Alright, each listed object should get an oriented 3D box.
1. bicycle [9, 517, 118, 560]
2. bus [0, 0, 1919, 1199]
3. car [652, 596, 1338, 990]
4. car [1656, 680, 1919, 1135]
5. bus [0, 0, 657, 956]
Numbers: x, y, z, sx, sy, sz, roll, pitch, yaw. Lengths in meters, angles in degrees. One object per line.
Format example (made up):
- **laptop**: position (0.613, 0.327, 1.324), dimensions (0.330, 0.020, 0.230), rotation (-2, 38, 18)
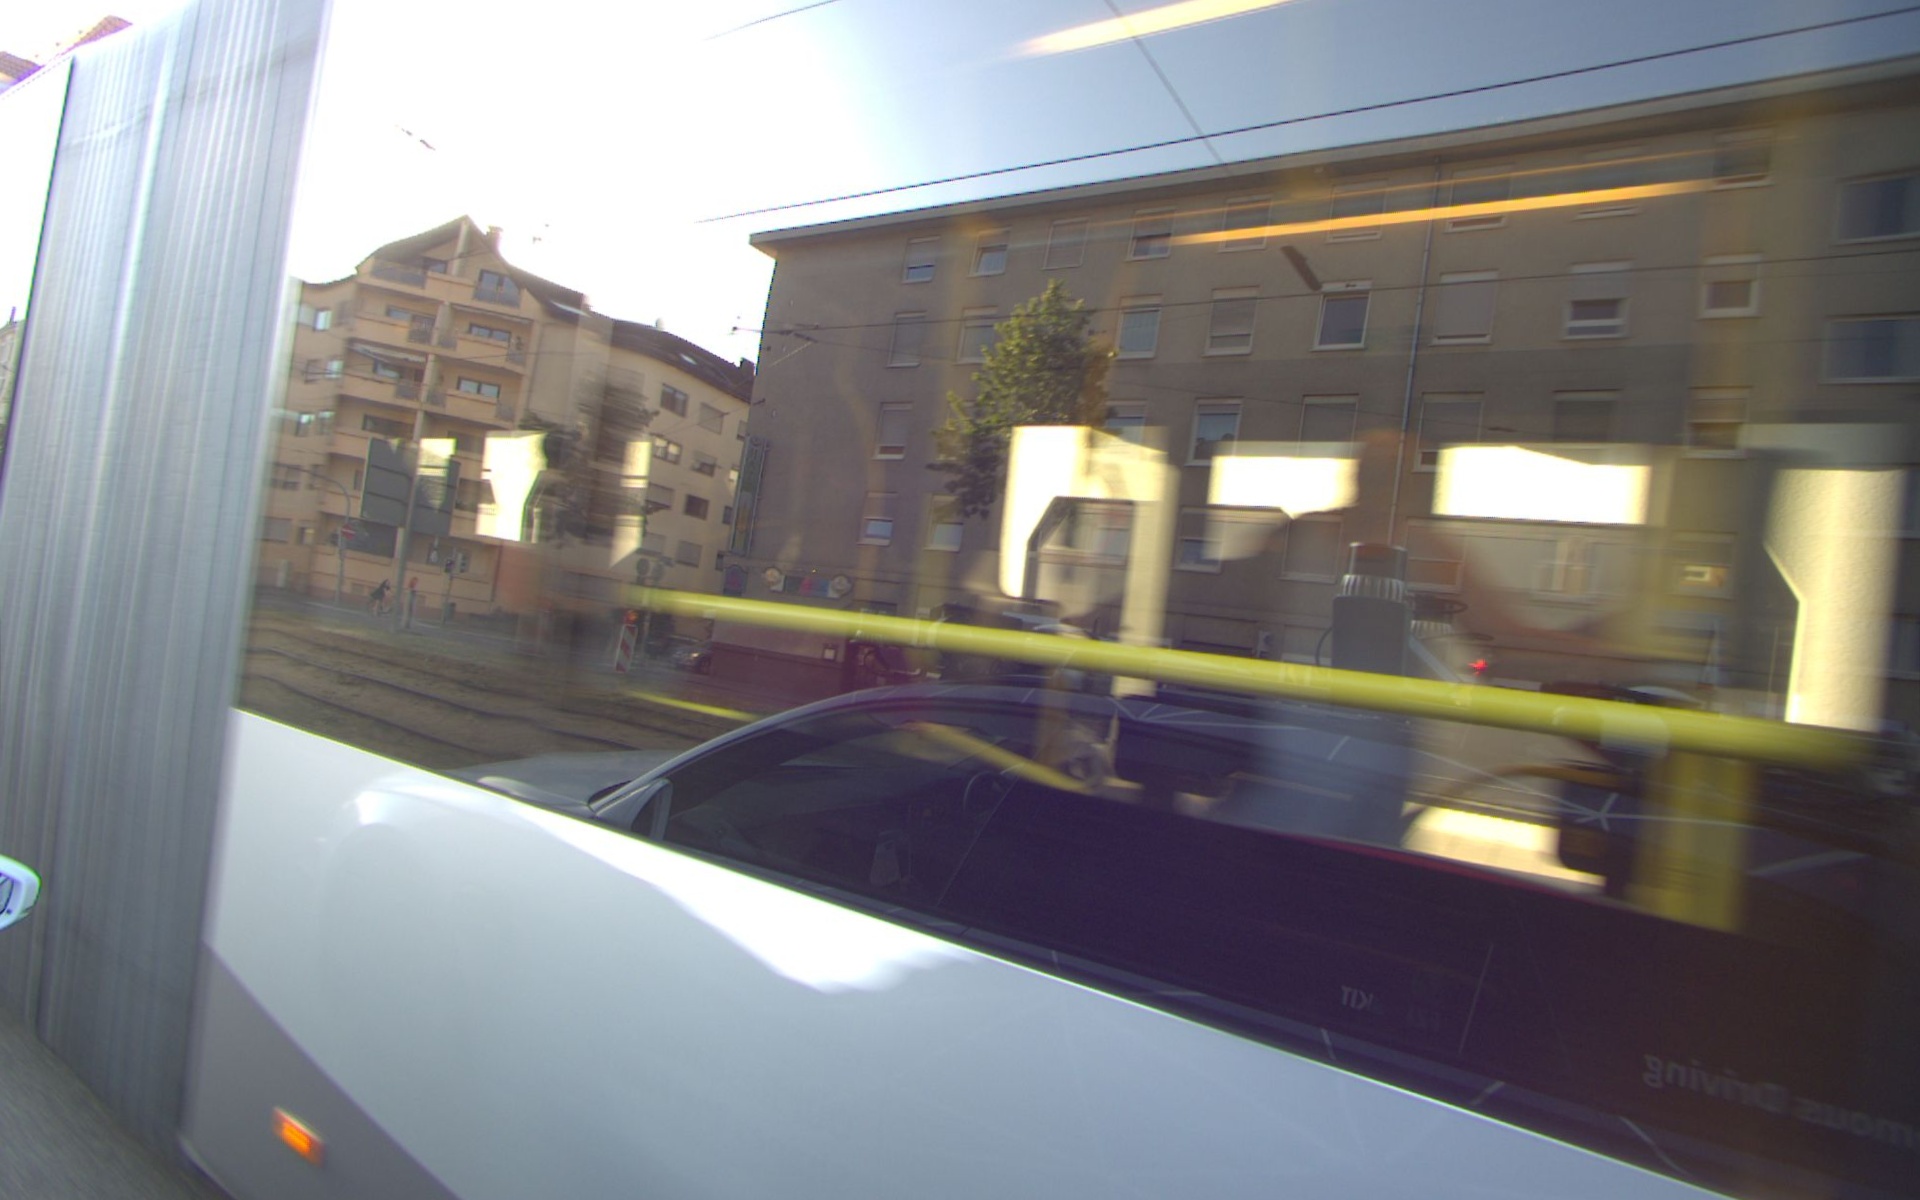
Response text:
- **bicycle**: position (-23.881, -1.630, 26.845), dimensions (0.772, 0.905, 1.983), rotation (6, 0, 23)
- **bus**: position (1.205, 0.139, 1.781), dimensions (8.708, 3.092, 2.743), rotation (6, -1, 32)
- **car**: position (0.114, 0.998, 6.795), dimensions (4.160, 1.556, 1.840), rotation (6, 0, 33)
- **car**: position (5.111, 1.365, 3.914), dimensions (3.723, 1.608, 1.840), rotation (6, 0, 33)
- **bus**: position (-6.264, -0.672, 6.569), dimensions (8.981, 3.092, 2.743), rotation (6, -1, 32)
